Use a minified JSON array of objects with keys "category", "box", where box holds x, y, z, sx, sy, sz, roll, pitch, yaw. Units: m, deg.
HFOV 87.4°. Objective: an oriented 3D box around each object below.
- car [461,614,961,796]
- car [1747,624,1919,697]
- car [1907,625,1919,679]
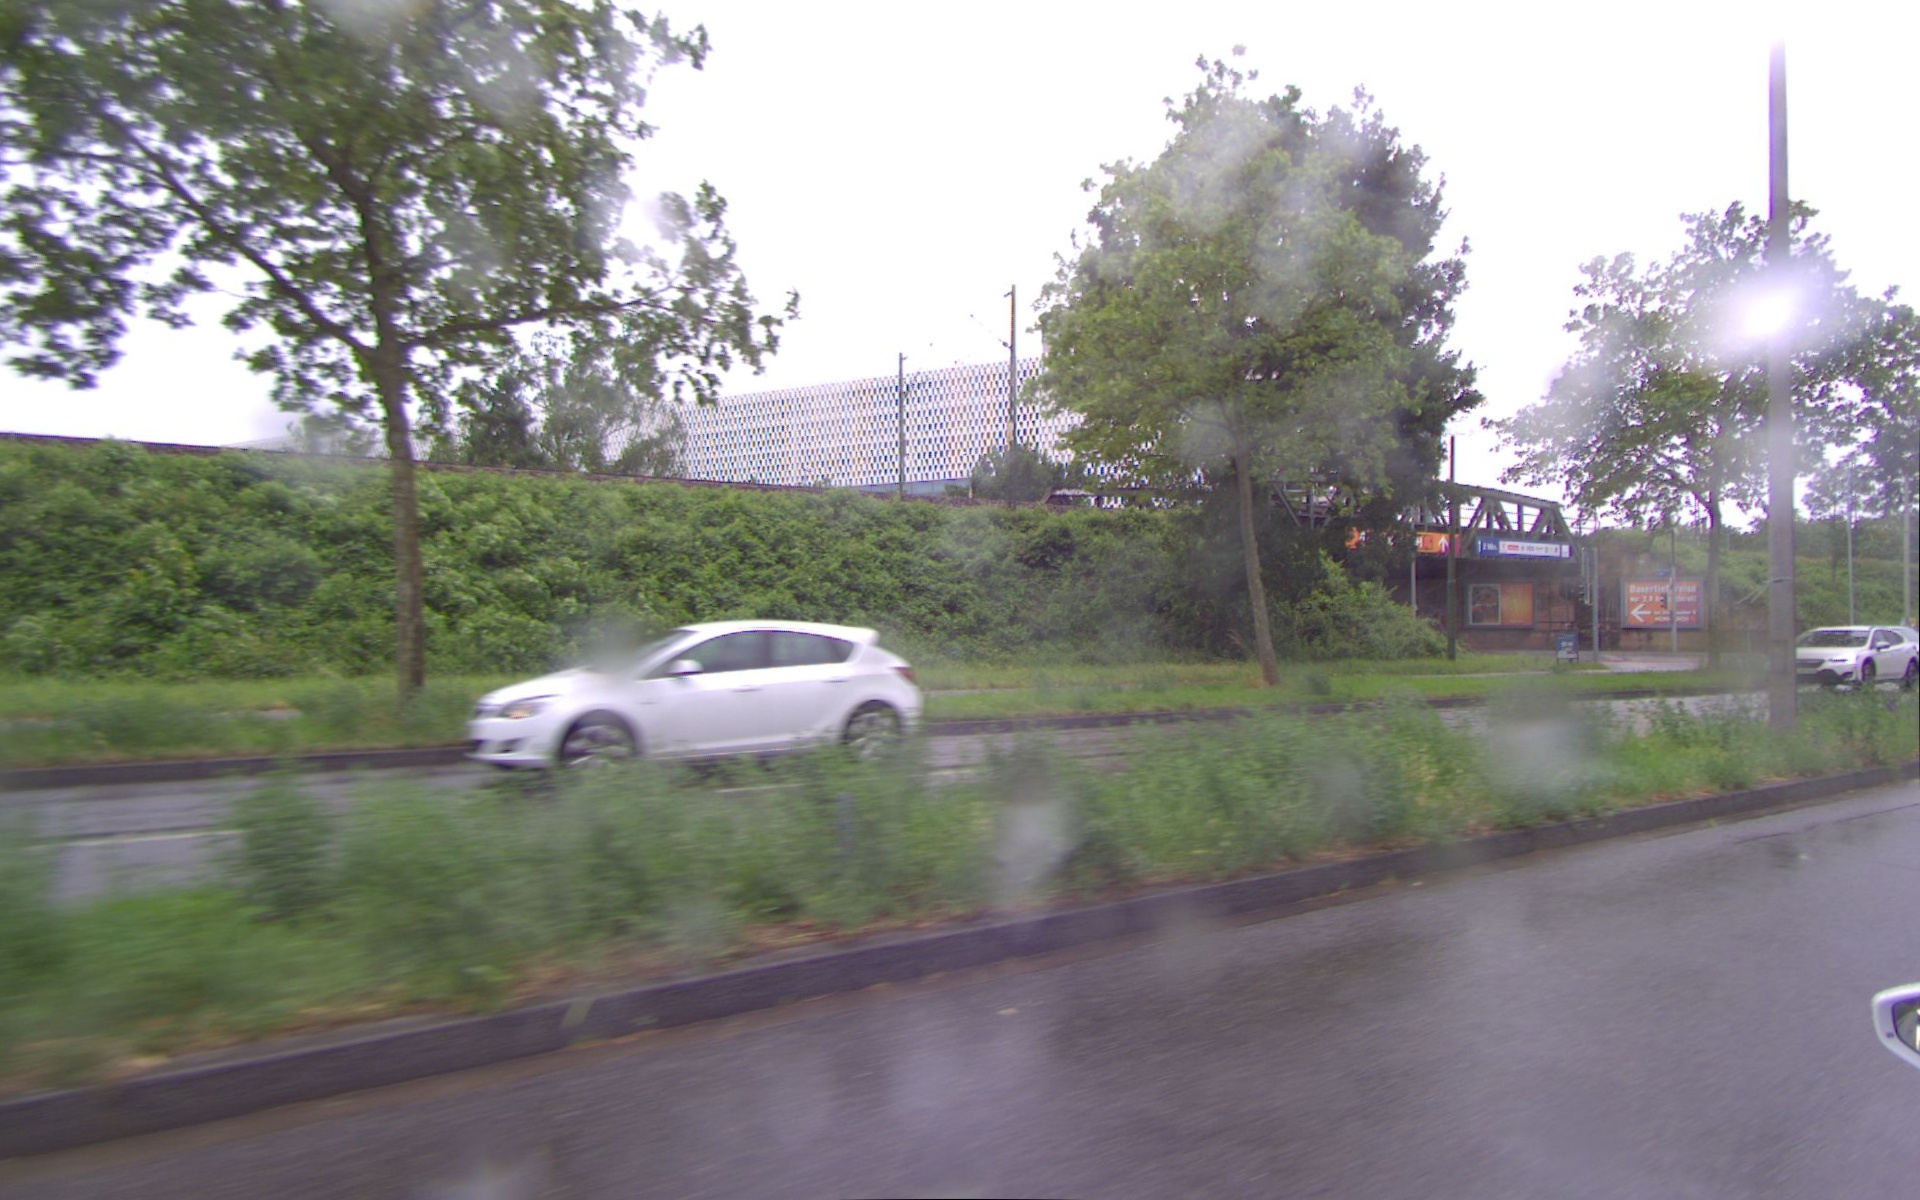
[{"category":"car","box":[-2.450,0.911,10.224,4.603,1.464,1.921,1,-1,-31]},{"category":"car","box":[21.005,1.407,24.081,4.465,1.610,1.848,1,-2,-30]},{"category":"car","box":[30.849,1.599,31.205,4.488,1.610,1.839,2,-2,-44]}]
